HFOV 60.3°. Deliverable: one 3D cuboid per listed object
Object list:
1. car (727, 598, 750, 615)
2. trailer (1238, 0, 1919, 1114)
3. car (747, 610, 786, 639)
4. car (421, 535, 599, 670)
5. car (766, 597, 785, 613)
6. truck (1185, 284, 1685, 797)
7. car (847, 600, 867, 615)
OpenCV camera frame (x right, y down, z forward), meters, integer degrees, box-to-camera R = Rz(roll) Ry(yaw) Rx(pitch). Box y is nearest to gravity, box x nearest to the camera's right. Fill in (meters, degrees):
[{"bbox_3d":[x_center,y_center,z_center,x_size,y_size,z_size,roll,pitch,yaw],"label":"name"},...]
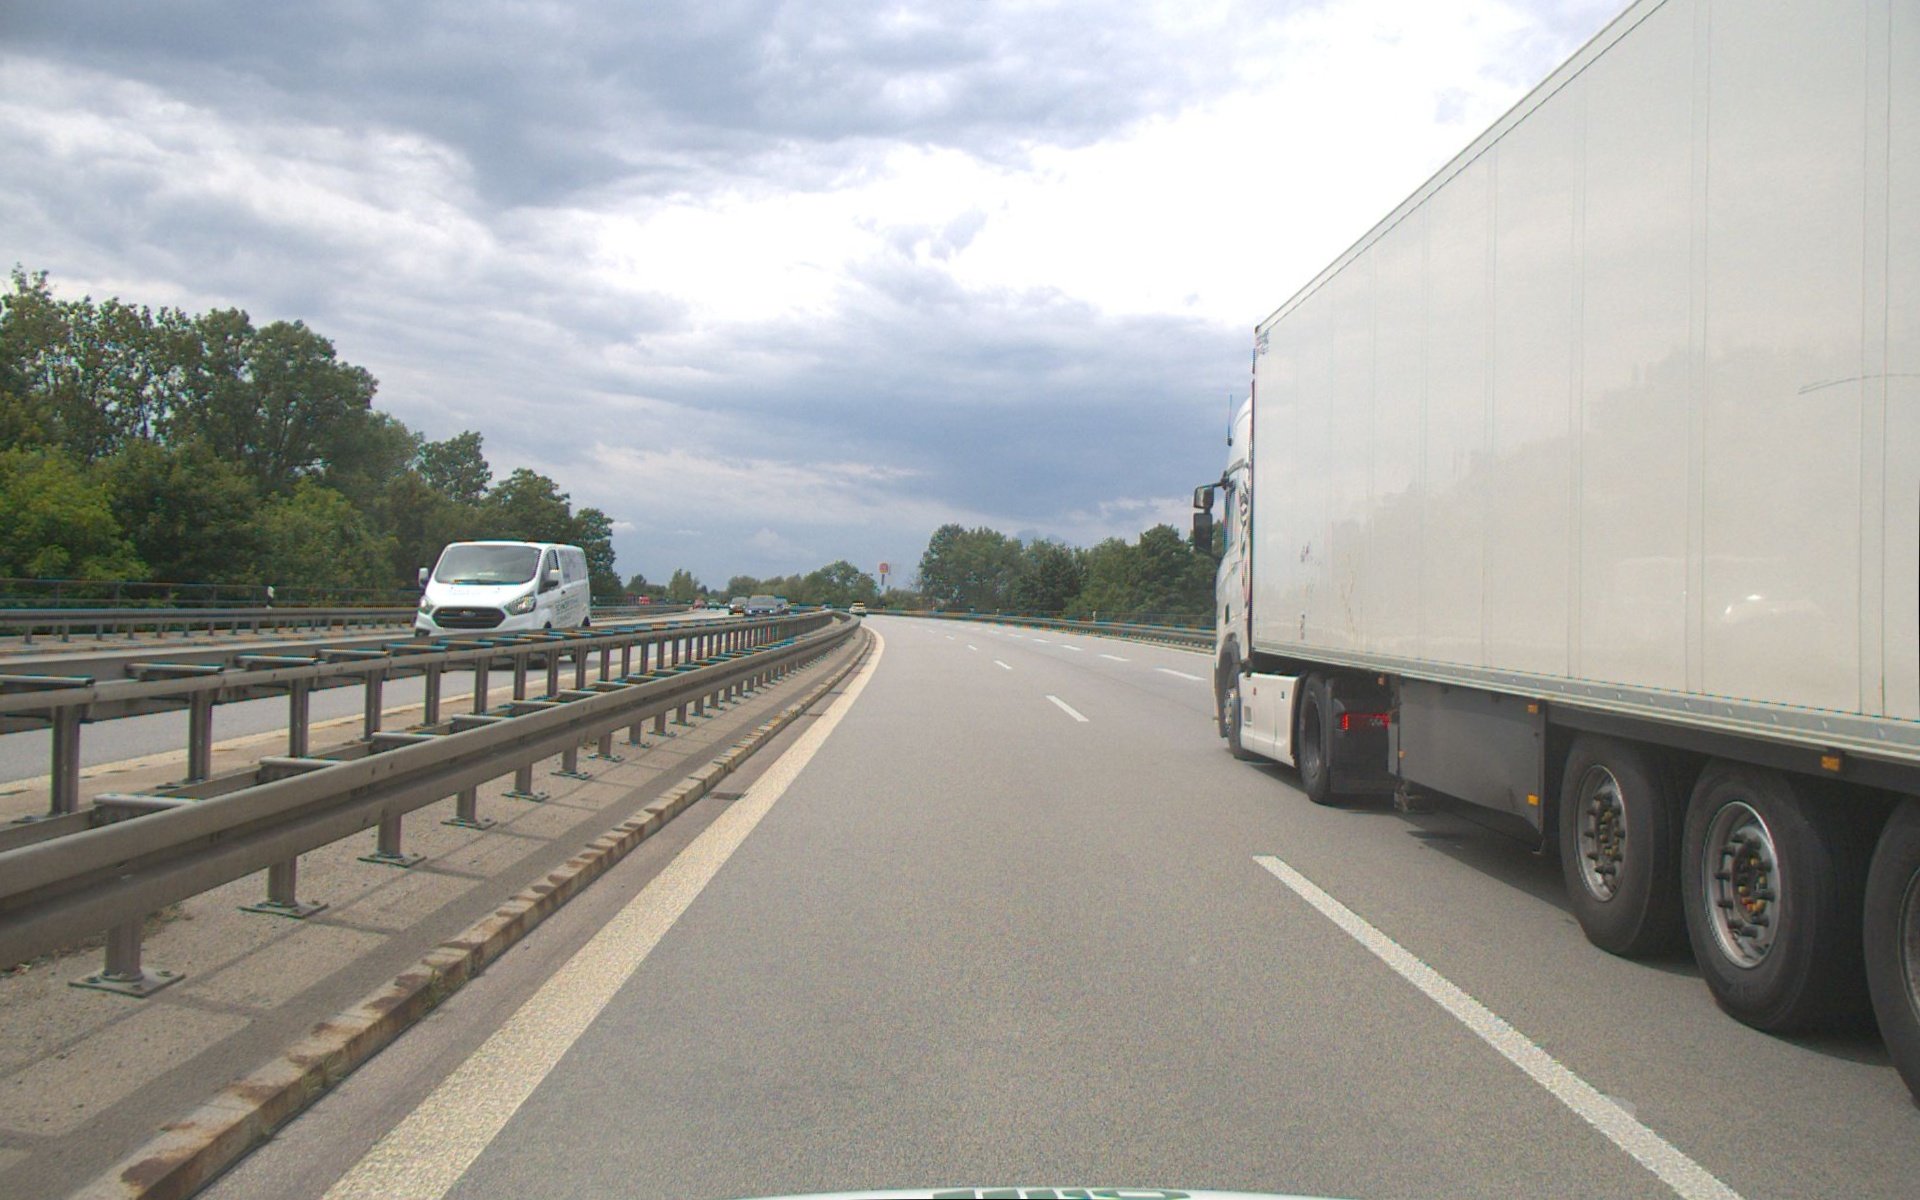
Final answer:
[{"bbox_3d":[-19.722,0.566,147.501,1.703,1.434,4.937,1,0,-5],"label":"car"},{"bbox_3d":[4.208,-0.491,8.687,3.000,3.959,13.788,1,0,-1],"label":"trailer"},{"bbox_3d":[-9.727,1.195,83.162,1.652,1.400,4.355,0,0,-3],"label":"car"},{"bbox_3d":[-7.251,0.038,27.139,1.736,1.944,4.712,3,0,-3],"label":"car"},{"bbox_3d":[-16.866,0.452,151.321,1.619,1.391,4.144,1,0,-5],"label":"car"},{"bbox_3d":[4.113,-0.452,15.876,3.000,3.960,5.999,1,0,-1],"label":"truck"},{"bbox_3d":[-12.499,0.897,201.251,1.868,1.669,4.384,2,-1,-11],"label":"car"}]
